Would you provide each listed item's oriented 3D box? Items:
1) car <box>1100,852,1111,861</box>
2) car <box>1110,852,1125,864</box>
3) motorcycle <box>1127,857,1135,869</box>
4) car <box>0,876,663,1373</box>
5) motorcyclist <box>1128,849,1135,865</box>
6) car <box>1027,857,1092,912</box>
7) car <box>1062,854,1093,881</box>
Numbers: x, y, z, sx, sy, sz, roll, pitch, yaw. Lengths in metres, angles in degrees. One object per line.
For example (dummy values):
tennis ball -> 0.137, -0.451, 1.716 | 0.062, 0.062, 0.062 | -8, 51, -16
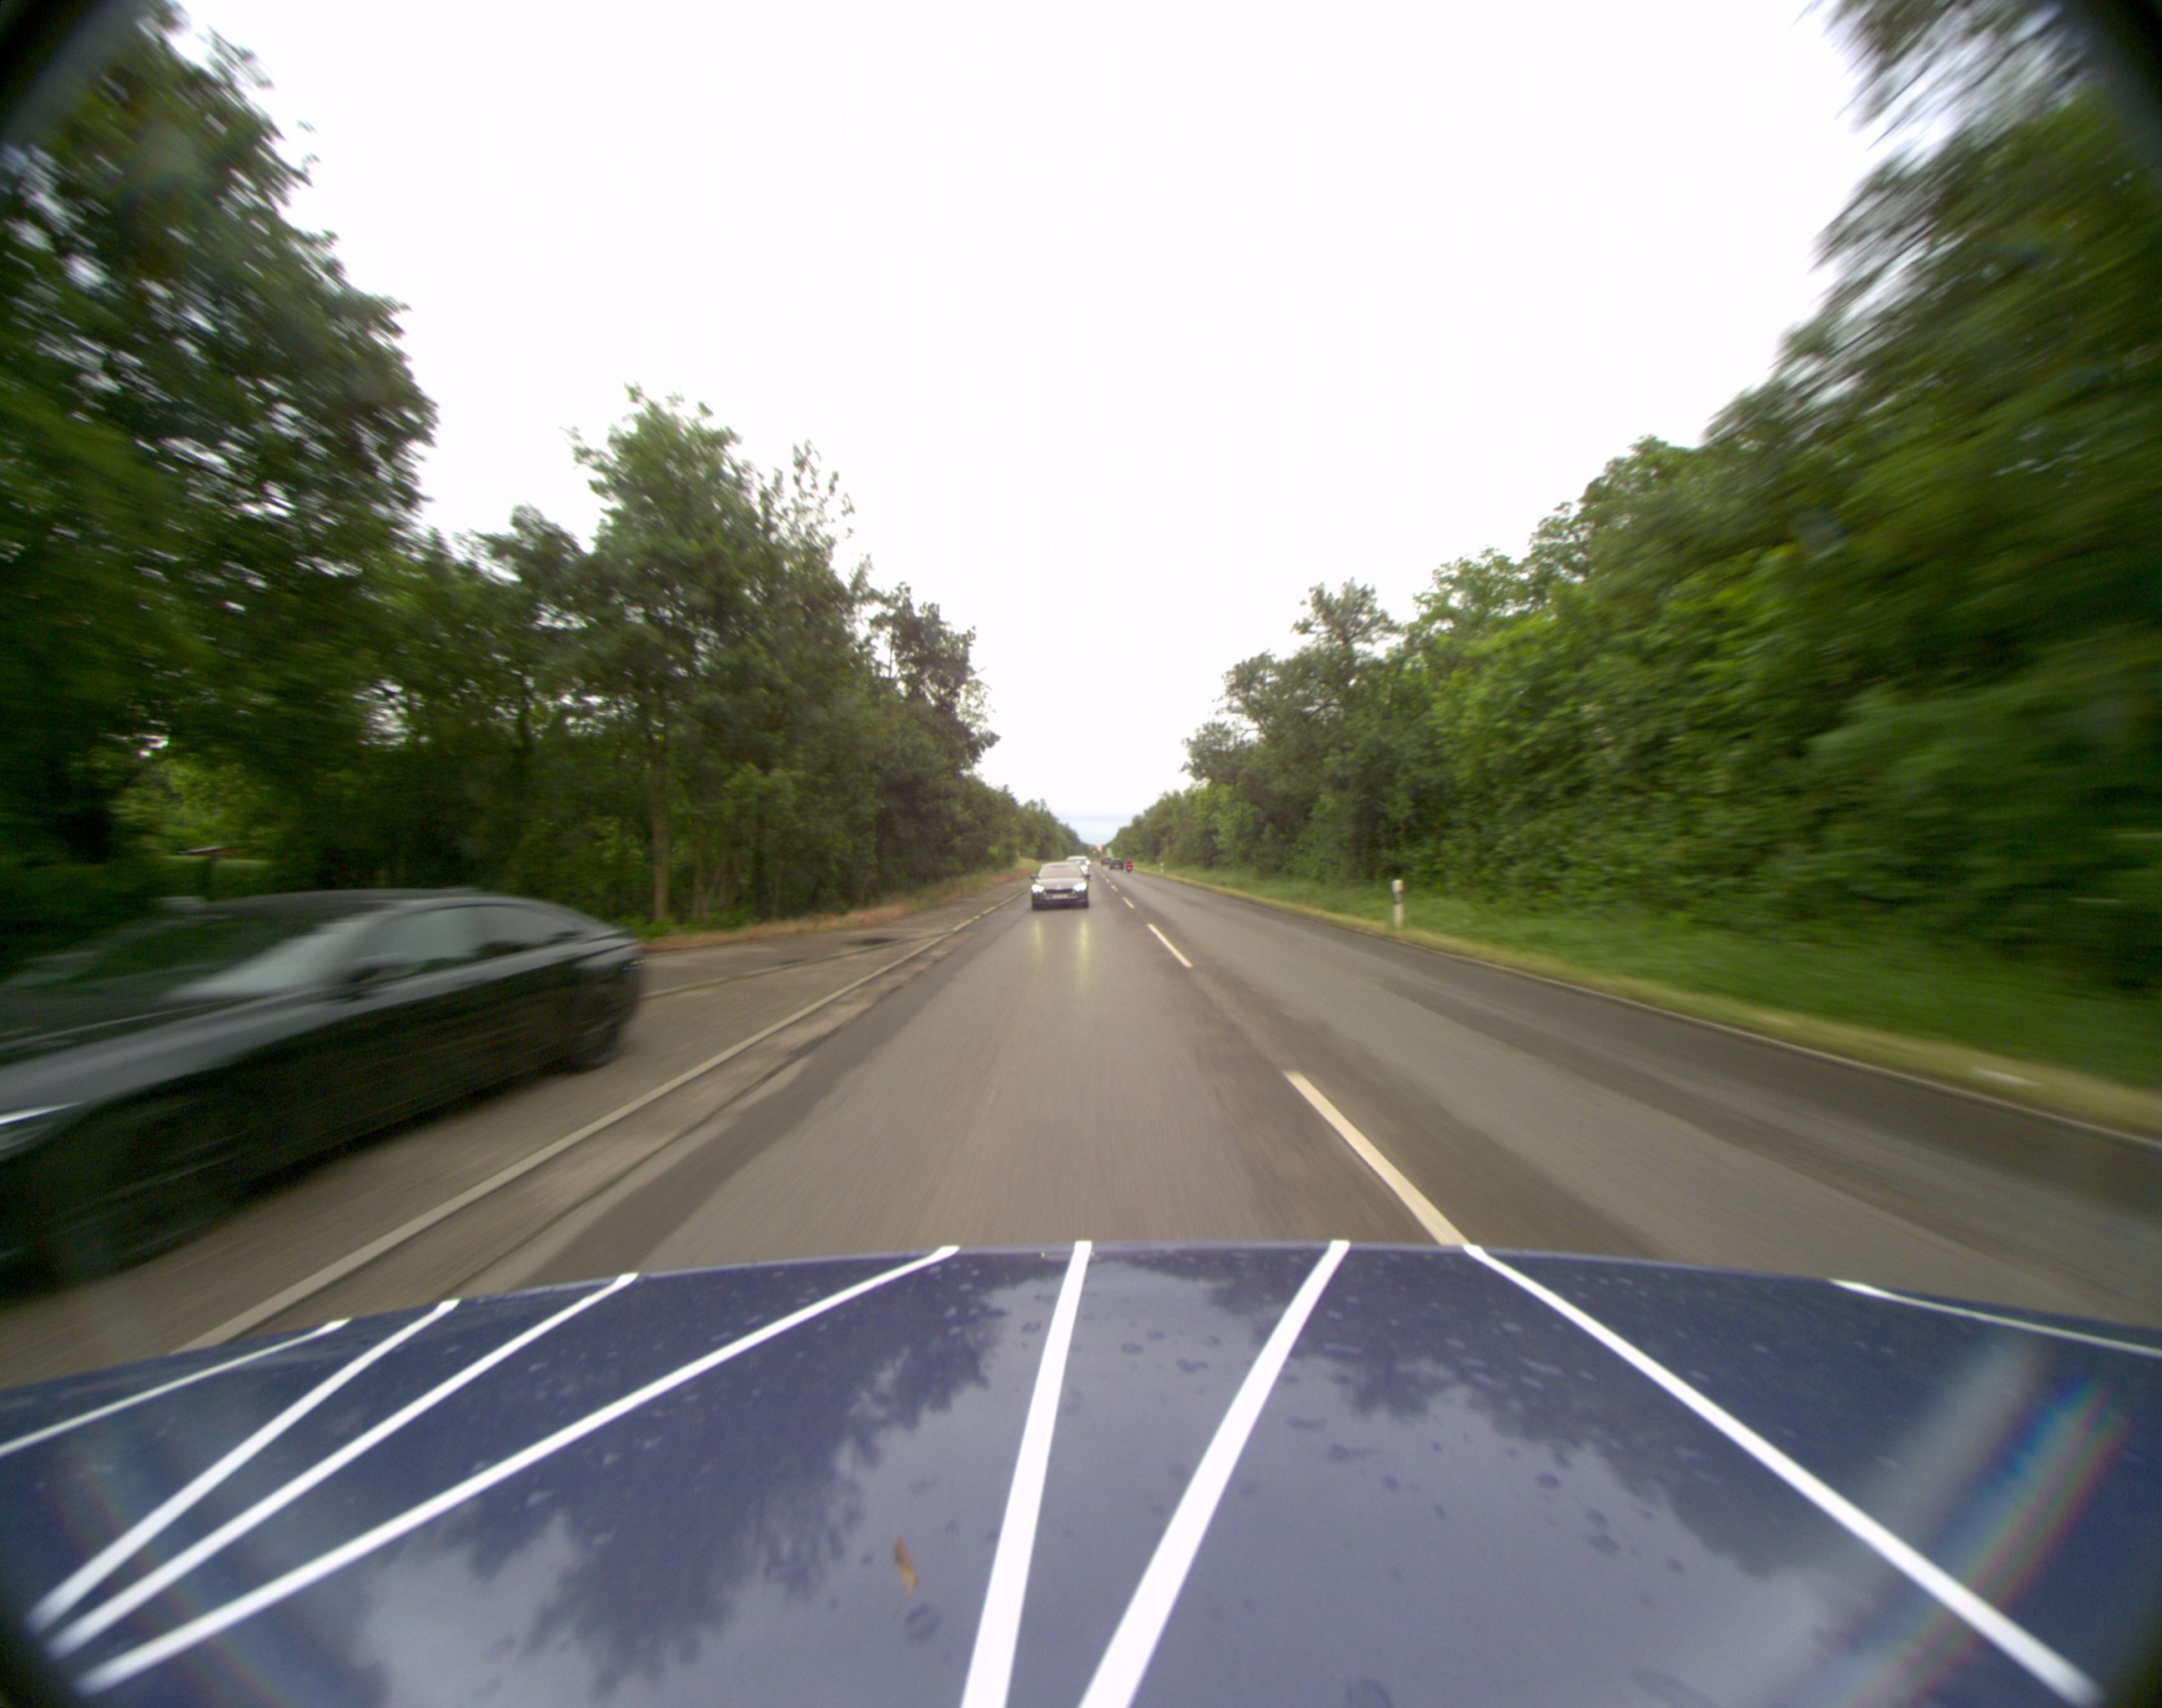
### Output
car -> 4.313, 0.385, 134.815 | 1.793, 1.465, 3.623 | 1, 1, 0
car -> 4.520, 0.517, 94.546 | 1.793, 1.465, 3.623 | 1, 1, 0
motorcycle -> 5.130, 0.874, 78.203 | 0.667, 1.191, 2.101 | 1, 0, 0
car -> -4.592, 0.992, 4.313 | 1.810, 1.501, 4.667 | 2, 1, 0
motorcyclist -> 5.182, 0.342, 78.163 | 0.697, 1.644, 0.667 | -1, 1, 0
car -> -0.633, 0.932, 25.178 | 1.915, 1.543, 4.354 | -2, 1, 0
car -> -0.205, 0.869, 51.011 | 1.915, 1.691, 3.913 | -2, 1, 0
